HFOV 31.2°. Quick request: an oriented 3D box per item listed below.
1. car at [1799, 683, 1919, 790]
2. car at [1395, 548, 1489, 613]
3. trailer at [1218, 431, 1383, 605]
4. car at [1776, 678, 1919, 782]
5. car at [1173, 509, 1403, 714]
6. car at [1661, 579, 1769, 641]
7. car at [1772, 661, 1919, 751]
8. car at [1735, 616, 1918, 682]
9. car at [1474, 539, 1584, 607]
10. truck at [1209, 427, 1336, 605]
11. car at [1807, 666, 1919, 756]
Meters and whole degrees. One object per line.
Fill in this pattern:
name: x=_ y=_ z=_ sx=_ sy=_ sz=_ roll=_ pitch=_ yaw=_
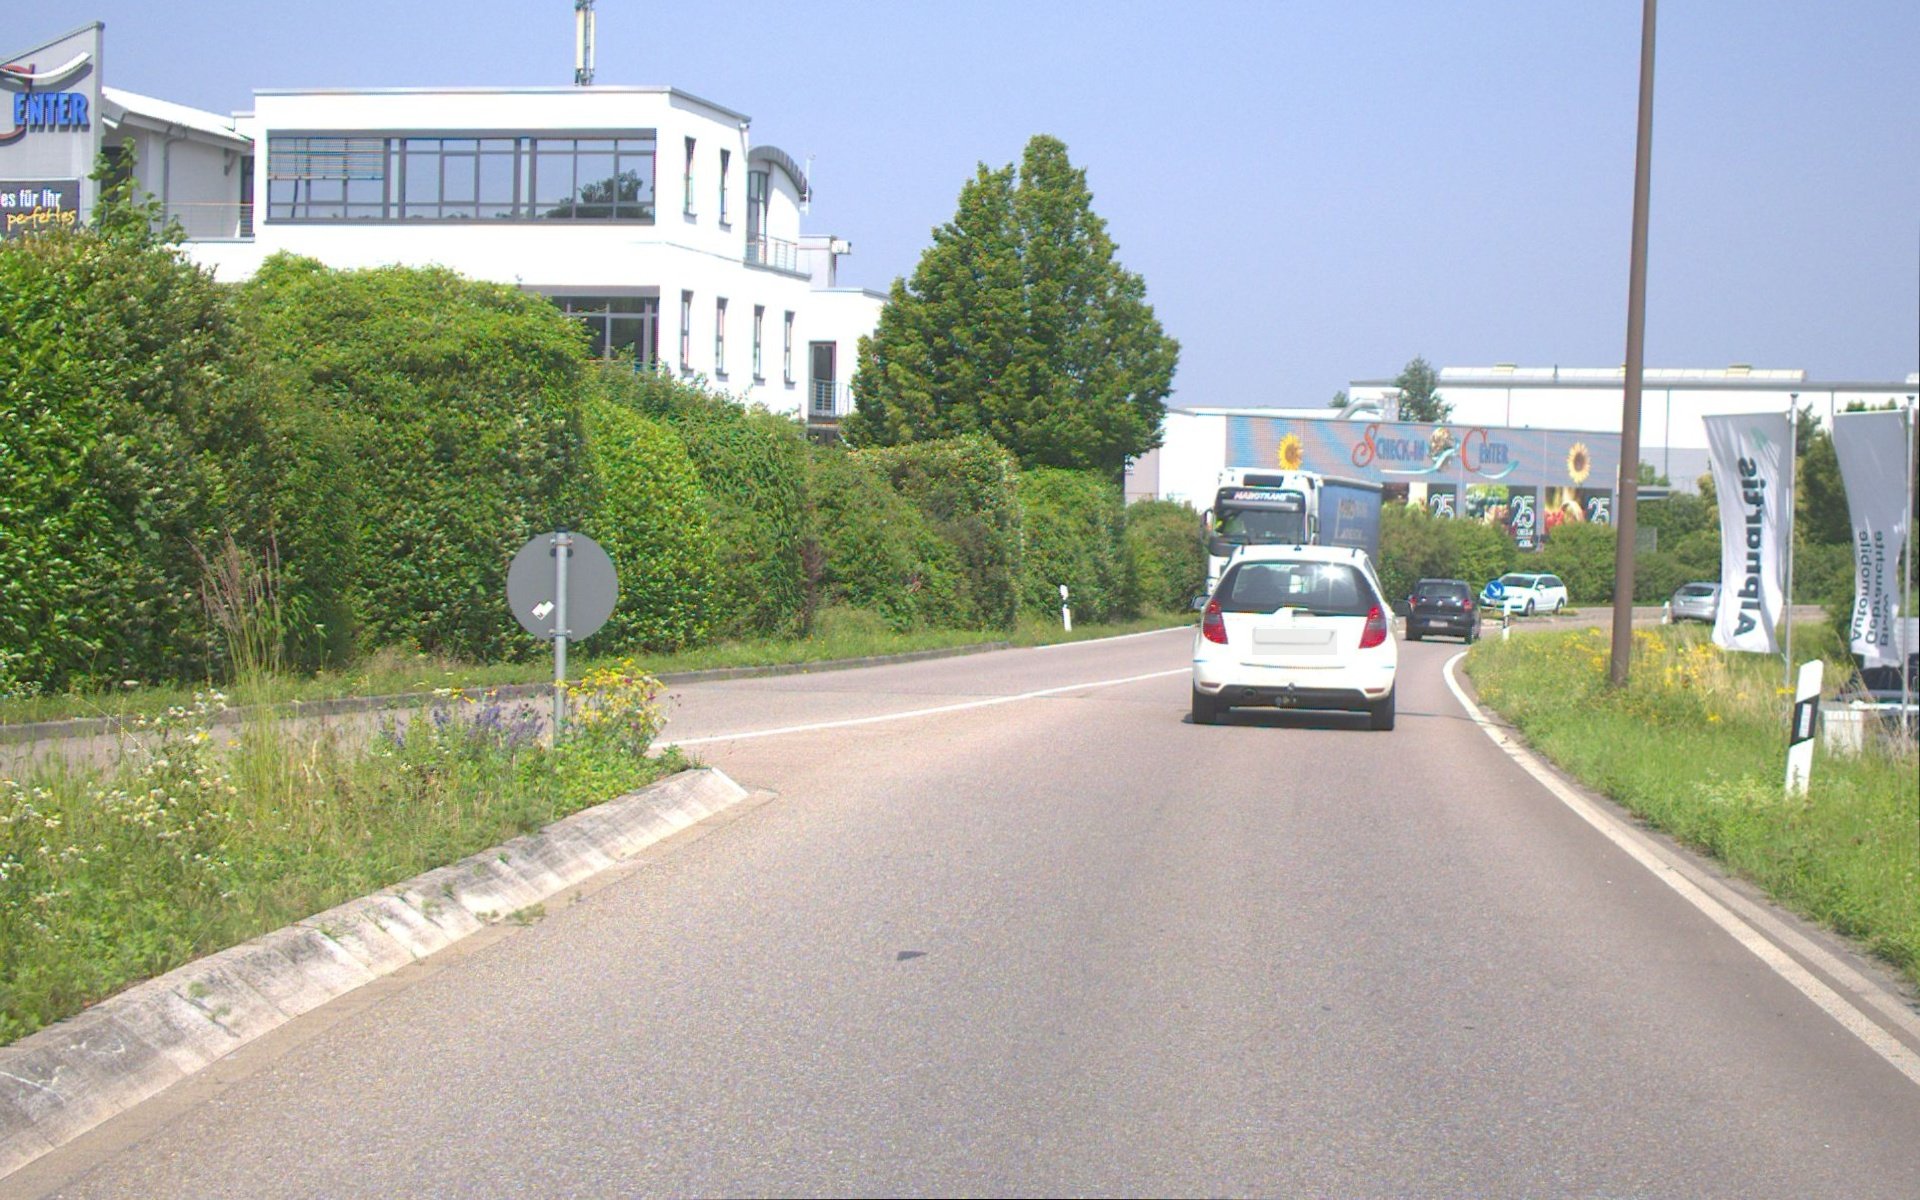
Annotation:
car: x=15.341 y=2.177 z=53.274 sx=4.169 sy=1.518 sz=1.686 roll=4 pitch=1 yaw=42
car: x=11.773 y=-0.474 z=83.820 sx=1.830 sy=1.465 sz=4.407 roll=3 pitch=1 yaw=13
trailer: x=9.403 y=-2.101 z=93.289 sx=2.671 sy=4.226 sz=14.558 roll=3 pitch=1 yaw=12
car: x=15.794 y=2.185 z=56.598 sx=4.168 sy=1.518 sz=1.747 roll=4 pitch=1 yaw=37
car: x=3.002 y=0.058 z=30.846 sx=1.782 sy=1.597 sz=3.892 roll=4 pitch=2 yaw=8
car: x=26.131 y=0.355 z=118.953 sx=1.998 sy=2.007 sz=3.991 roll=4 pitch=1 yaw=38
car: x=17.952 y=2.056 z=65.965 sx=4.168 sy=1.518 sz=1.852 roll=4 pitch=1 yaw=37
car: x=24.620 y=1.376 z=97.734 sx=4.639 sy=1.599 sz=1.852 roll=4 pitch=2 yaw=37
car: x=18.194 y=-0.842 z=109.855 sx=1.997 sy=2.007 sz=3.993 roll=3 pitch=1 yaw=32
truck: x=7.837 y=-2.049 z=85.697 sx=2.514 sy=4.243 sz=6.110 roll=2 pitch=1 yaw=10
car: x=20.794 y=2.442 z=73.885 sx=4.640 sy=1.695 sz=1.852 roll=4 pitch=4 yaw=42
